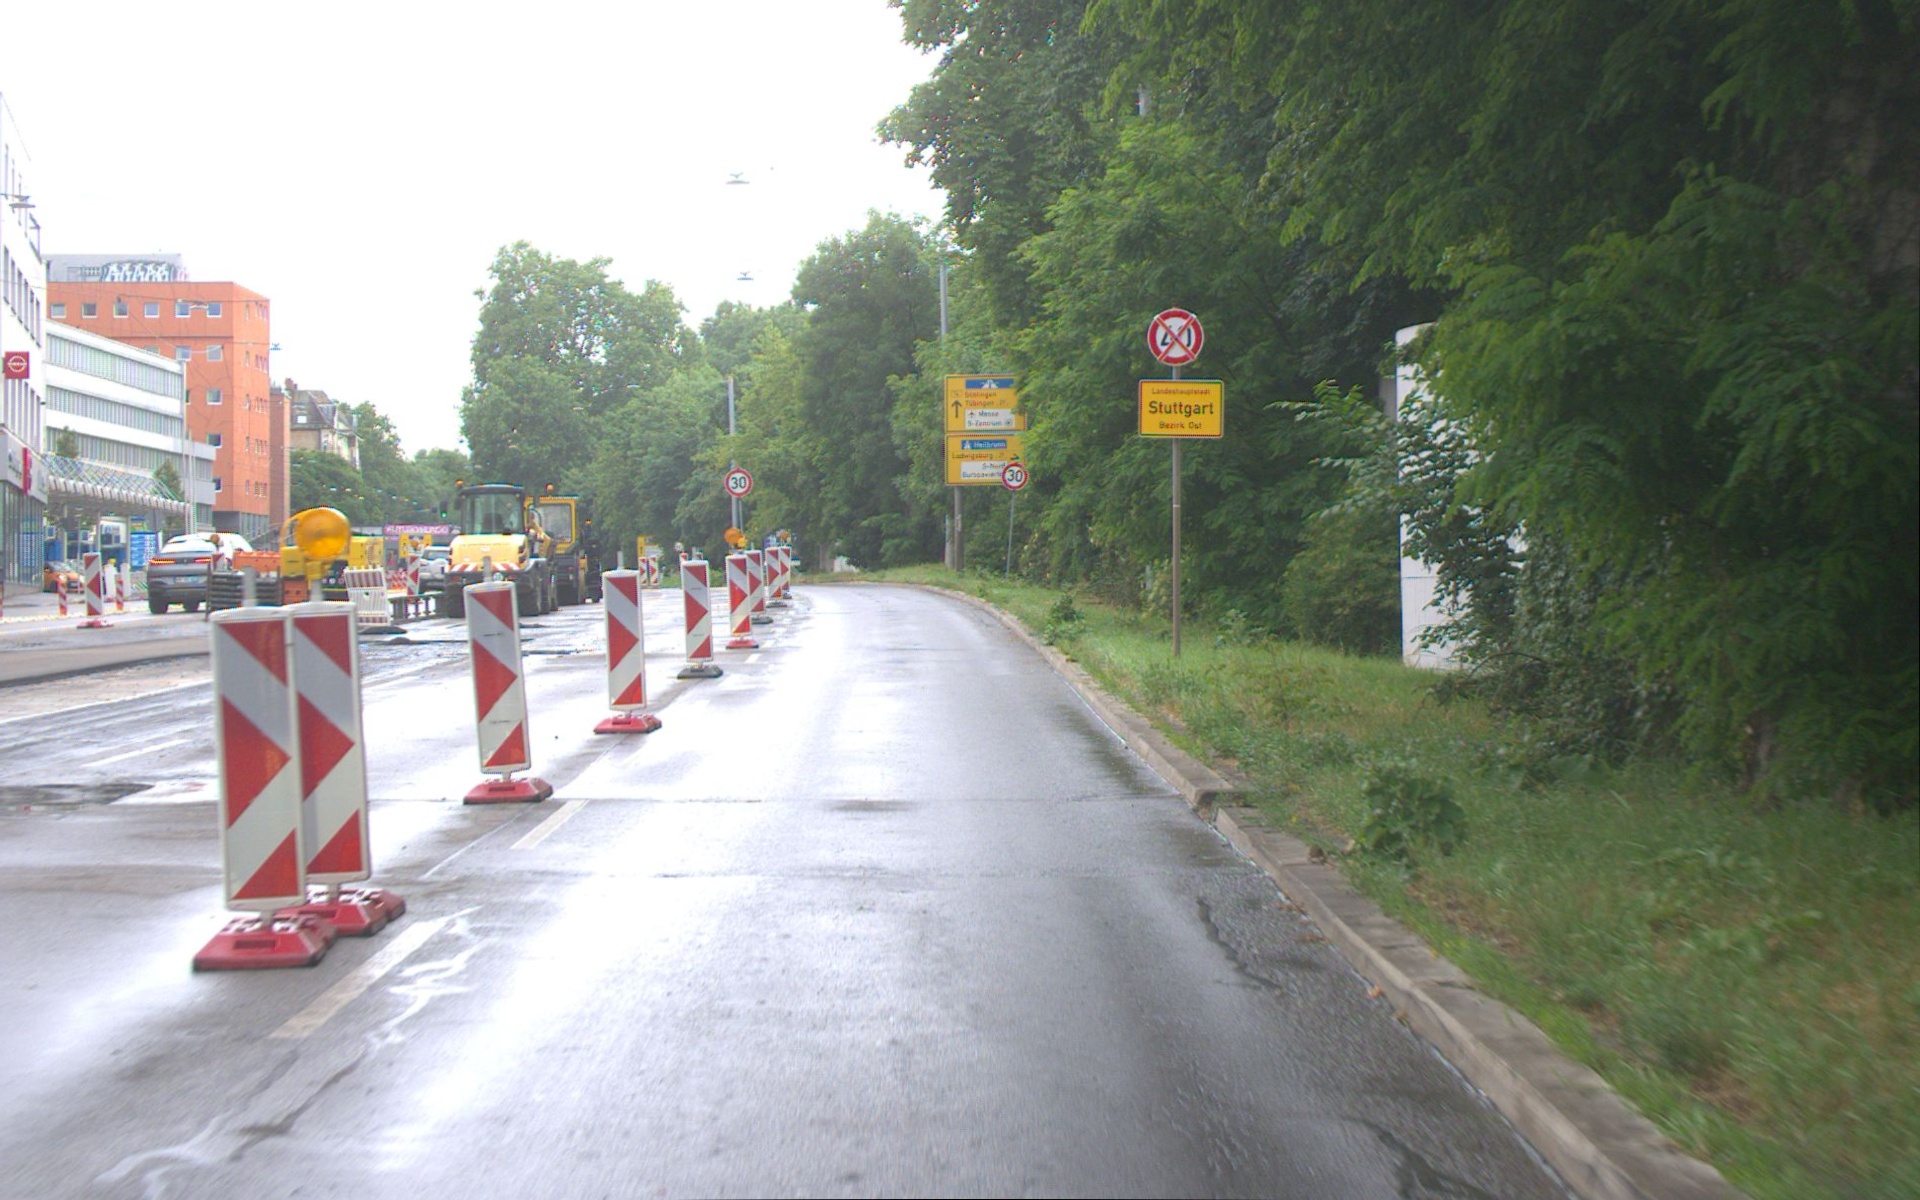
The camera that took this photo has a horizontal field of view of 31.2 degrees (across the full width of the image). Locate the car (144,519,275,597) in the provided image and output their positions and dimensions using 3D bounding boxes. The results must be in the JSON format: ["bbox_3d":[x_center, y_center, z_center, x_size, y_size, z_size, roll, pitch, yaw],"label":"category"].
[{"bbox_3d":[-16.321,-0.909,74.931,1.893,1.644,4.396,0,1,0],"label":"car"}]

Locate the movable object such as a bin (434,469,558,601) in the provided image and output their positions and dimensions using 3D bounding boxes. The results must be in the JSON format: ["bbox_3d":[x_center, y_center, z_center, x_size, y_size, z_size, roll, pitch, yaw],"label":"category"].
[{"bbox_3d":[-9.475,-1.333,70.565,1.902,2.600,5.383,0,1,-1],"label":"movable object such as a bin"}]

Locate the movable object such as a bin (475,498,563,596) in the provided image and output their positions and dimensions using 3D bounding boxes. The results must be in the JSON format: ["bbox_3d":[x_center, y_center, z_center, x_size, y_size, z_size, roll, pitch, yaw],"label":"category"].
[{"bbox_3d":[-9.706,-1.176,75.873,1.362,2.083,5.030,0,1,-1],"label":"movable object such as a bin"}]

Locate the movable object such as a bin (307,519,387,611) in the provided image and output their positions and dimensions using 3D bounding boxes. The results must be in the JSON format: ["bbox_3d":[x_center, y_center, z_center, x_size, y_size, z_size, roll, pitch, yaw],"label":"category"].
[{"bbox_3d":[-11.063,-0.642,62.142,1.083,1.639,2.439,0,1,-2],"label":"movable object such as a bin"}]

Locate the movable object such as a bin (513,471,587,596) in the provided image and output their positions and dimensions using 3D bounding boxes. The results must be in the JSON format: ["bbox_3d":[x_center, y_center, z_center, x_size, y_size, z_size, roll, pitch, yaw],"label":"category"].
[{"bbox_3d":[-10.185,-1.655,85.583,1.465,2.998,3.725,-2,1,-2],"label":"movable object such as a bin"}]
